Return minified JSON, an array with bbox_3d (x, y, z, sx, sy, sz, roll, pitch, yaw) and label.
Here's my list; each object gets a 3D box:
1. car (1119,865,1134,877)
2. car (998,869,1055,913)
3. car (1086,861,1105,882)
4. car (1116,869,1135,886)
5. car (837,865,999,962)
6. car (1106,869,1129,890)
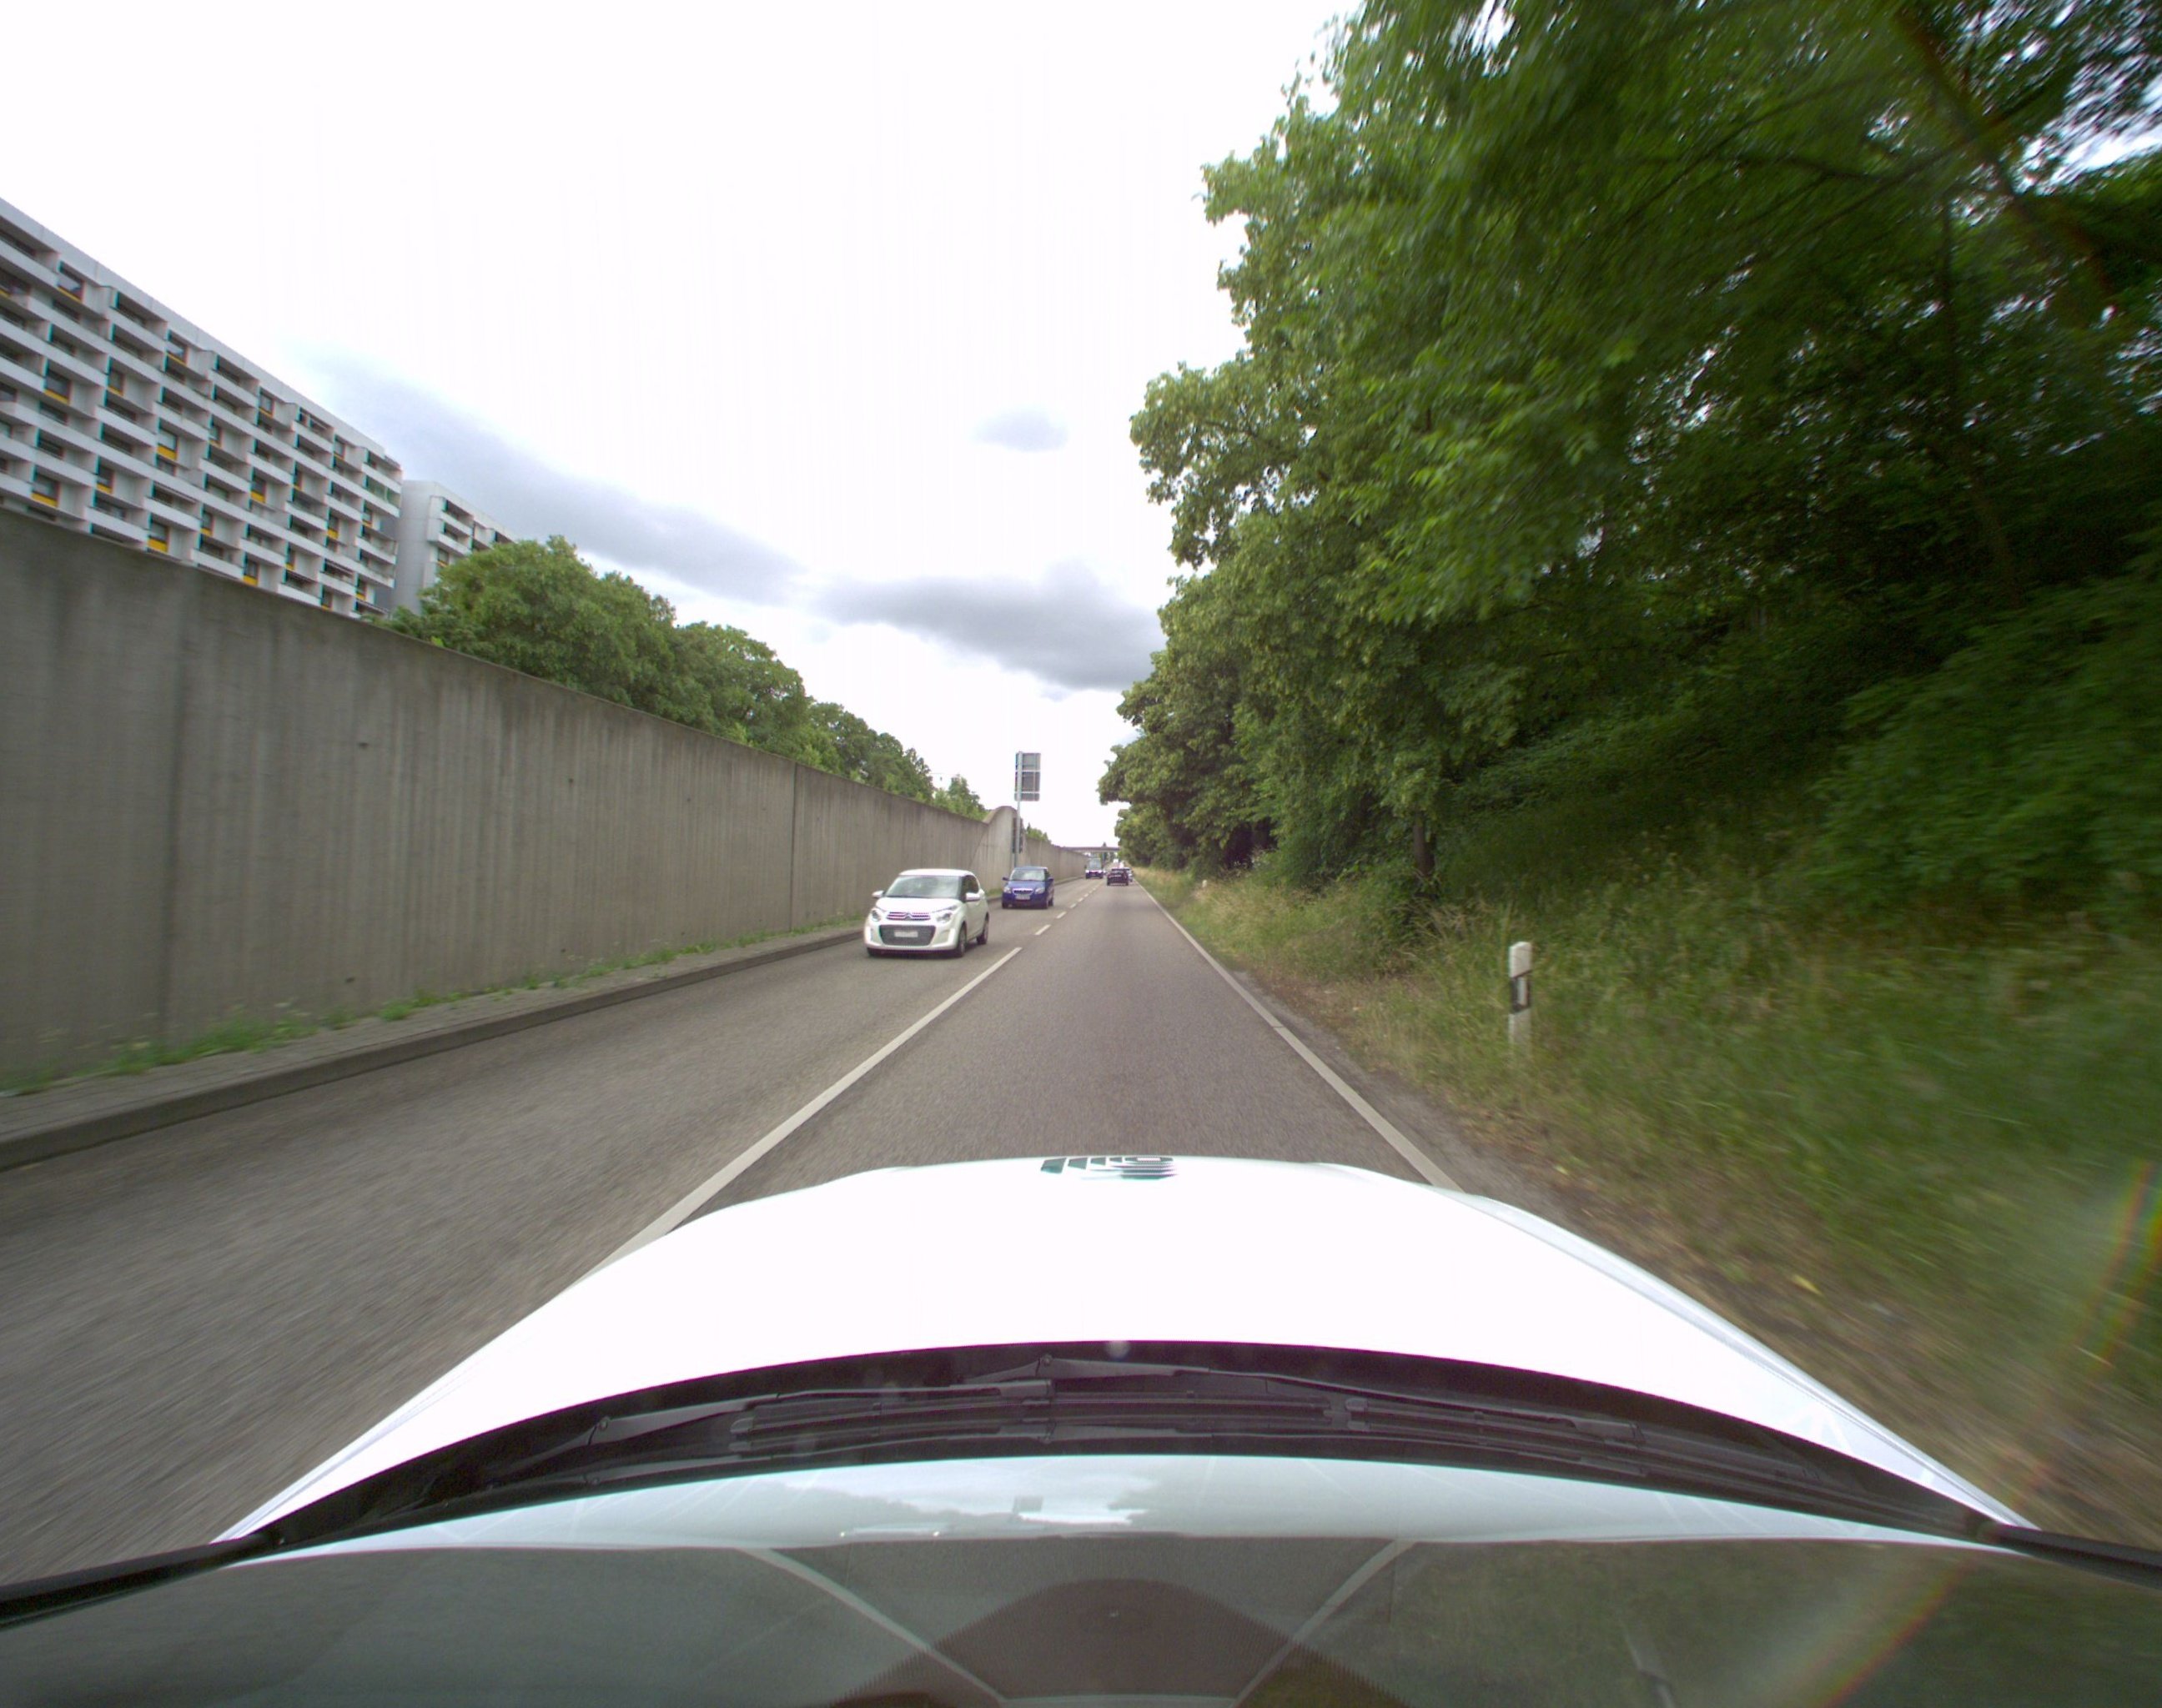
[{"bbox_3d":[5.982,2.279,107.486,1.860,1.490,4.257,4,-2,1],"label":"car"},{"bbox_3d":[-1.960,1.318,30.206,1.762,1.496,4.207,1,-1,0],"label":"car"},{"bbox_3d":[1.857,2.255,103.483,2.101,2.631,7.422,0,-2,3],"label":"car"},{"bbox_3d":[4.511,2.425,83.495,1.748,1.524,4.037,-3,-3,2],"label":"car"},{"bbox_3d":[-2.792,0.987,15.008,1.907,1.496,4.210,1,-1,3],"label":"car"},{"bbox_3d":[2.964,2.112,66.934,1.748,1.524,4.036,-1,-4,1],"label":"car"}]
